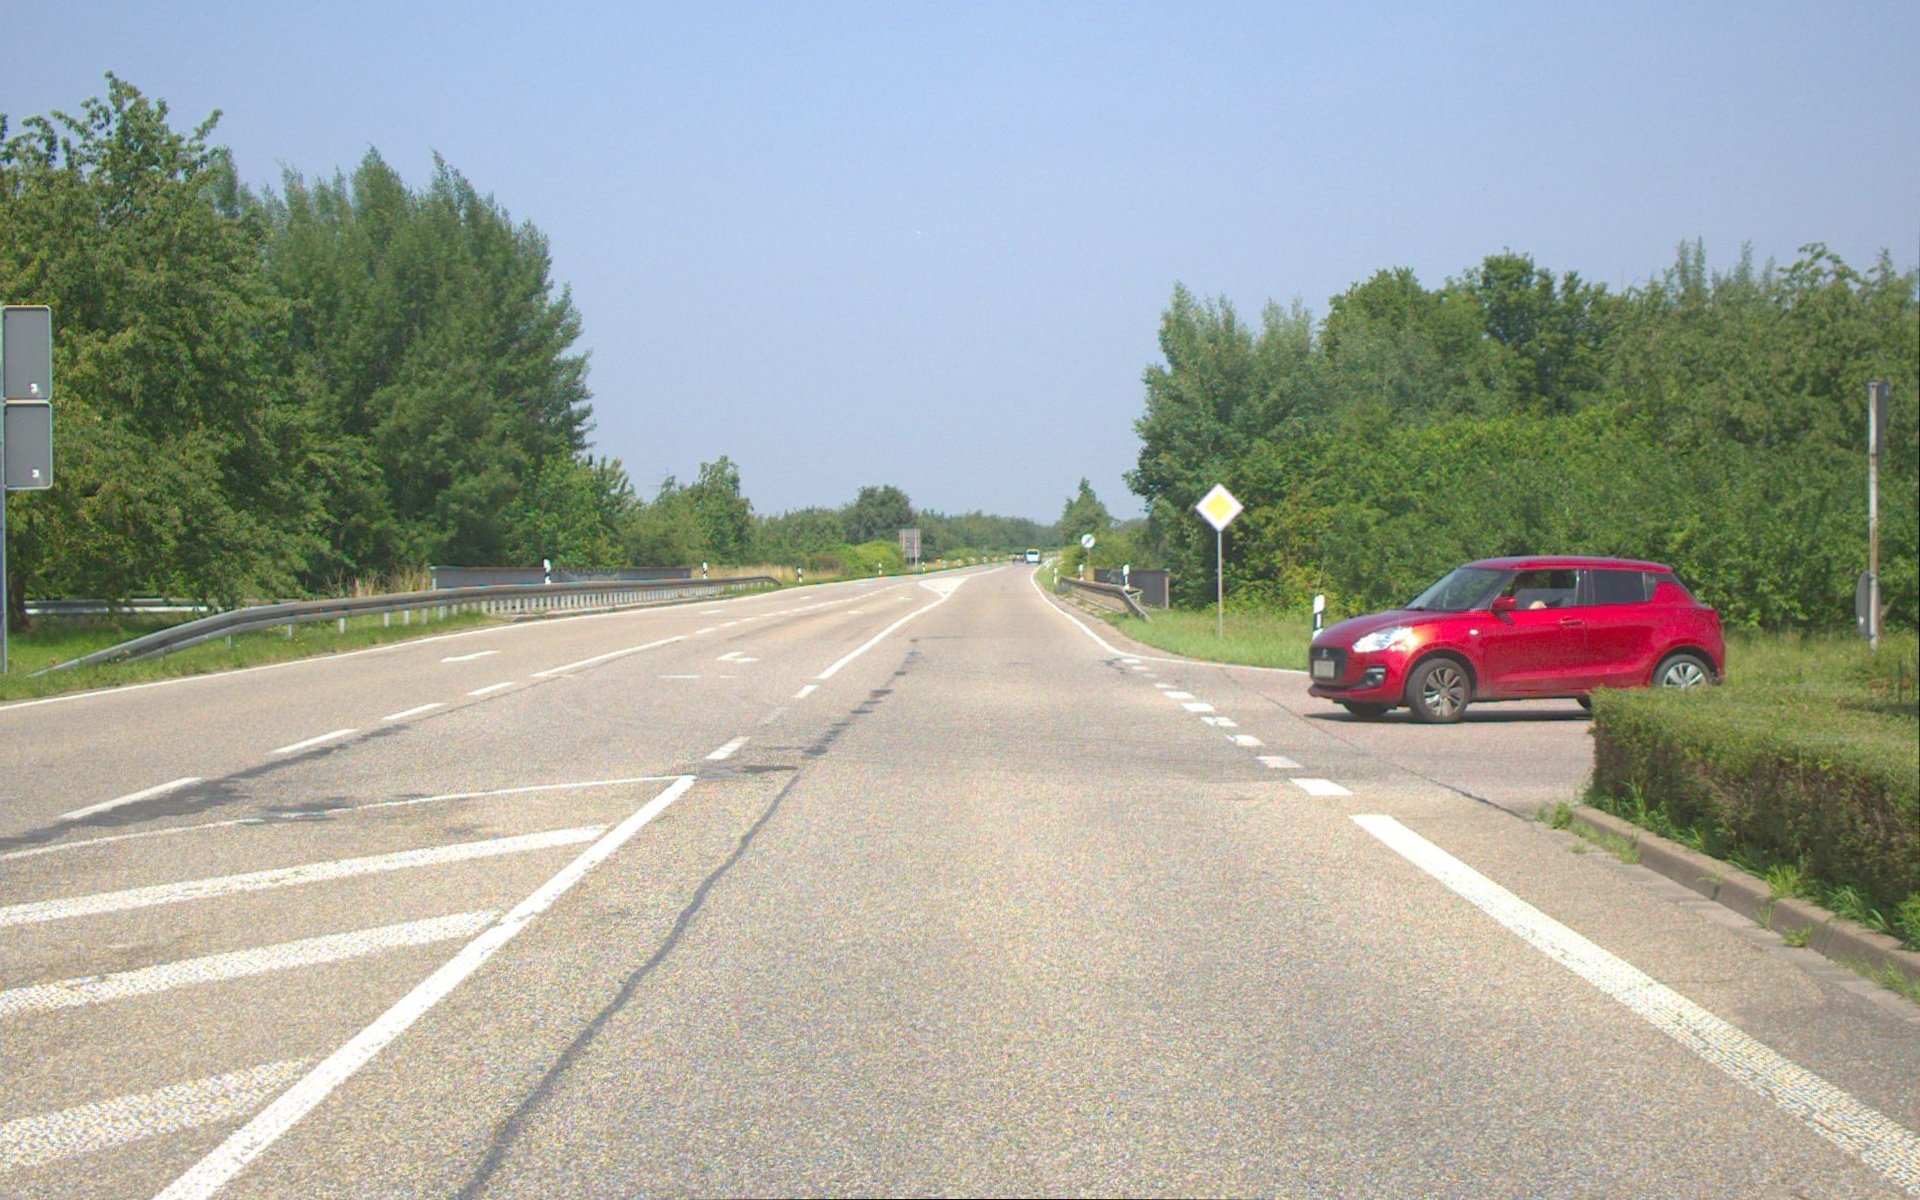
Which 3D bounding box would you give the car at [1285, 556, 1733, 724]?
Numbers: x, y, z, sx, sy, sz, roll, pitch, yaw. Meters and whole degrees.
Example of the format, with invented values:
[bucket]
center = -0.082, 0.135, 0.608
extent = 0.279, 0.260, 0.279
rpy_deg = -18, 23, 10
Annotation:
[car]
center = 5.093, 0.361, 31.977
extent = 3.739, 1.487, 1.672
rpy_deg = 0, 1, -17
